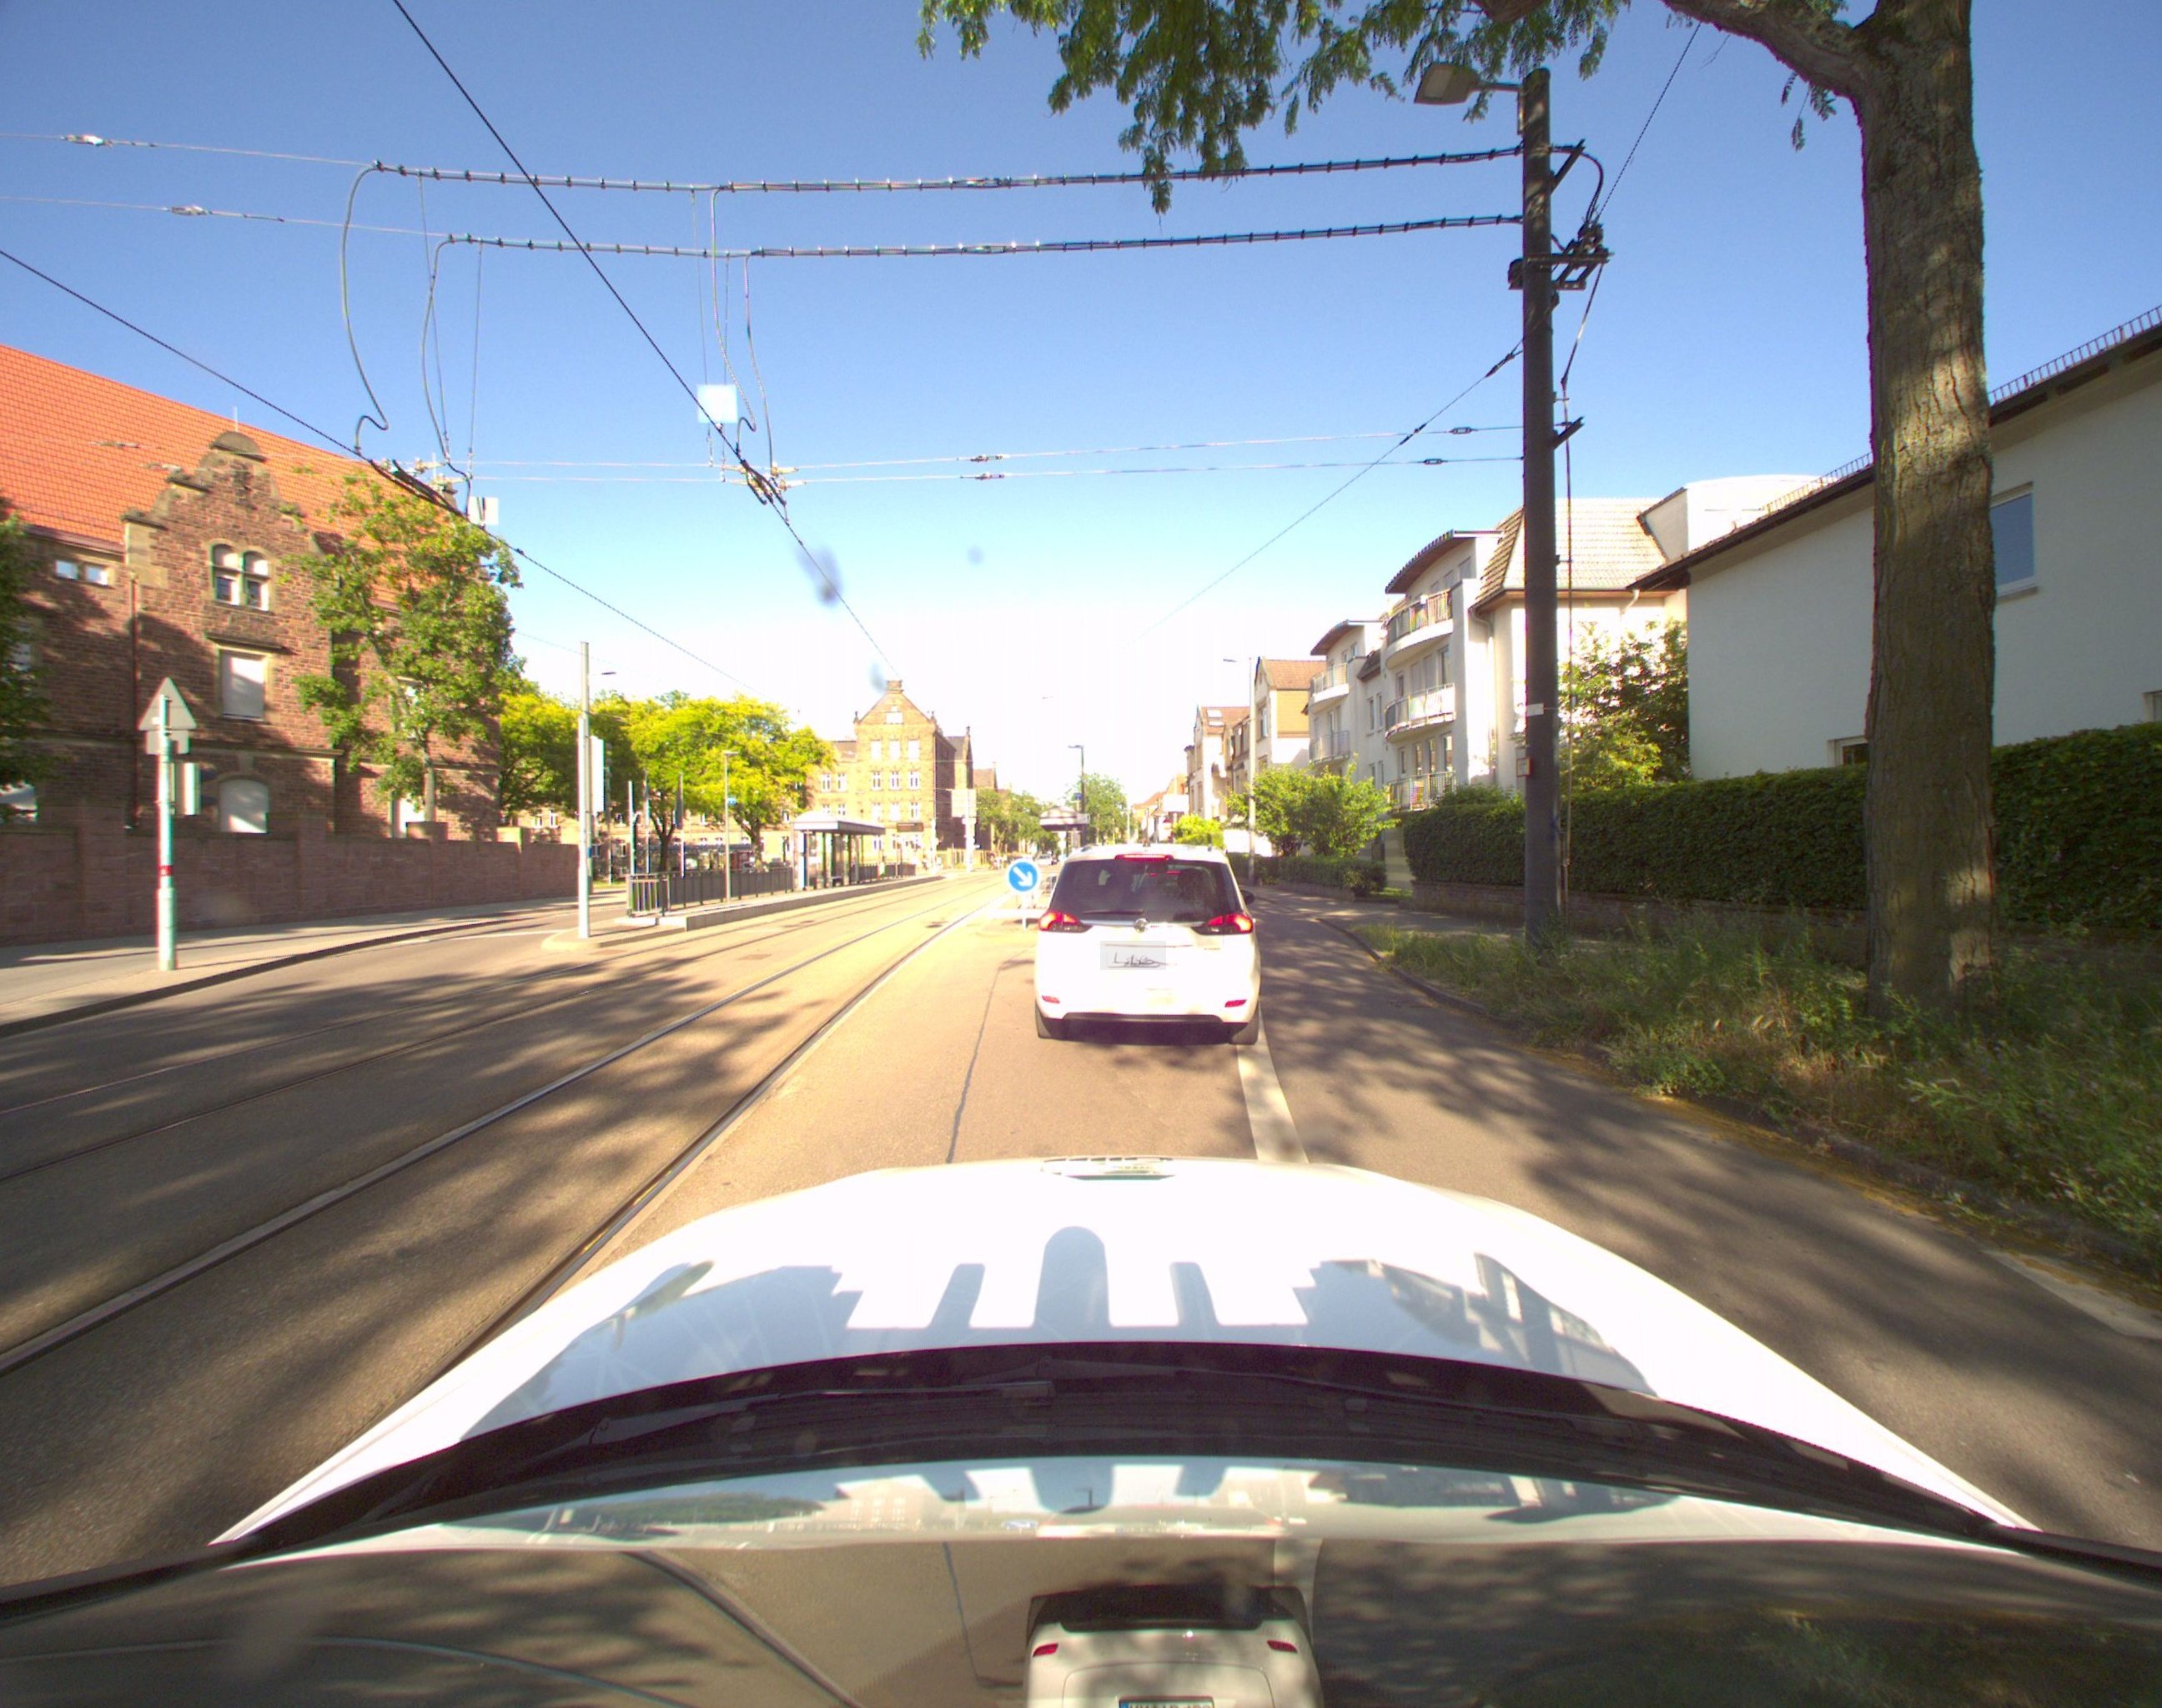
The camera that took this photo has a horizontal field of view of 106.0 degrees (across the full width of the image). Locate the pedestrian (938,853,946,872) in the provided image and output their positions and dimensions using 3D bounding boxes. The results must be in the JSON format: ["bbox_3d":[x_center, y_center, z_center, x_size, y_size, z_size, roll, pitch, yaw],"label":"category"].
[{"bbox_3d":[-14.561,0.875,85.501,0.796,2.014,0.717,0,-1,-15],"label":"pedestrian"}]

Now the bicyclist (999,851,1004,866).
[{"bbox_3d":[-10.657,0.607,109.518,0.496,2.013,0.572,-1,0,1],"label":"bicyclist"}]

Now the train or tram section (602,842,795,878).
[{"bbox_3d":[-37.853,0.582,81.130,17.346,3.154,3.344,-1,-1,-3],"label":"train or tram section"}]

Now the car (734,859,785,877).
[{"bbox_3d":[-29.662,1.321,75.198,3.976,1.630,1.817,0,-1,-2],"label":"car"}]

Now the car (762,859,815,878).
[{"bbox_3d":[-25.454,1.245,70.956,3.976,1.630,1.817,0,-1,-2],"label":"car"}]

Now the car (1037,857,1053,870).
[{"bbox_3d":[-4.720,1.265,107.659,1.740,1.716,4.001,0,-1,2],"label":"car"}]

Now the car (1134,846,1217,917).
[{"bbox_3d":[2.518,0.641,21.062,1.896,1.624,4.010,-1,0,9],"label":"car"}]

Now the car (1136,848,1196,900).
[{"bbox_3d":[2.972,0.655,28.334,1.897,1.661,4.007,-1,0,6],"label":"car"}]

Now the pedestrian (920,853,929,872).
[{"bbox_3d":[-17.073,0.948,88.934,0.800,2.014,0.713,0,-1,-32],"label":"pedestrian"}]

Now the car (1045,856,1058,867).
[{"bbox_3d":[-4.618,1.192,129.384,1.740,1.716,4.001,0,-1,2],"label":"car"}]

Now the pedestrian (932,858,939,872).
[{"bbox_3d":[-17.171,1.264,95.887,0.651,1.612,0.712,0,-1,4],"label":"pedestrian"}]

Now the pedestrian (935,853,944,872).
[{"bbox_3d":[-15.565,0.942,89.521,0.801,2.014,0.713,0,-1,-35],"label":"pedestrian"}]

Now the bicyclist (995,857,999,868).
[{"bbox_3d":[-10.677,1.065,103.486,0.312,1.444,0.384,-1,0,1],"label":"bicyclist"}]

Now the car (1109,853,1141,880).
[{"bbox_3d":[2.836,0.756,53.170,1.901,1.661,4.000,-1,0,0],"label":"car"}]

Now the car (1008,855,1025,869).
[{"bbox_3d":[-8.512,1.039,107.439,1.740,1.716,4.001,0,-1,2],"label":"car"}]

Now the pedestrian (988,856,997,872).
[{"bbox_3d":[-10.492,1.148,96.607,0.745,1.901,0.804,0,-1,-26],"label":"pedestrian"}]

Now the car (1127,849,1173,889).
[{"bbox_3d":[2.992,0.620,36.177,1.899,1.661,4.003,-1,0,3],"label":"car"}]

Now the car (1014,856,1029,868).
[{"bbox_3d":[-8.344,1.125,114.106,1.740,1.716,4.001,0,-1,2],"label":"car"}]

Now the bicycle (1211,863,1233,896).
[{"bbox_3d":[4.963,0.897,28.785,0.621,1.097,1.977,-1,0,6],"label":"bicycle"}]

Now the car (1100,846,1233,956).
[{"bbox_3d":[1.557,0.689,13.856,1.896,1.597,4.010,-1,0,9],"label":"car"}]

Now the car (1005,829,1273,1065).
[{"bbox_3d":[0.713,0.666,7.847,1.896,1.661,4.010,-1,0,9],"label":"car"}]

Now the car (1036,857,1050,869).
[{"bbox_3d":[-5.384,1.297,115.538,1.740,1.716,4.001,0,-1,2],"label":"car"}]

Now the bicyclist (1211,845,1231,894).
[{"bbox_3d":[4.958,0.550,28.813,0.613,1.686,0.780,-1,0,6],"label":"bicyclist"}]

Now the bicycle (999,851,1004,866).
[{"bbox_3d":[-10.652,0.607,109.500,0.485,2.013,1.406,-1,0,2],"label":"bicycle"}]

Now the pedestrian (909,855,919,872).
[{"bbox_3d":[-18.374,1.042,89.617,0.802,1.901,0.747,-1,-1,16],"label":"pedestrian"}]
